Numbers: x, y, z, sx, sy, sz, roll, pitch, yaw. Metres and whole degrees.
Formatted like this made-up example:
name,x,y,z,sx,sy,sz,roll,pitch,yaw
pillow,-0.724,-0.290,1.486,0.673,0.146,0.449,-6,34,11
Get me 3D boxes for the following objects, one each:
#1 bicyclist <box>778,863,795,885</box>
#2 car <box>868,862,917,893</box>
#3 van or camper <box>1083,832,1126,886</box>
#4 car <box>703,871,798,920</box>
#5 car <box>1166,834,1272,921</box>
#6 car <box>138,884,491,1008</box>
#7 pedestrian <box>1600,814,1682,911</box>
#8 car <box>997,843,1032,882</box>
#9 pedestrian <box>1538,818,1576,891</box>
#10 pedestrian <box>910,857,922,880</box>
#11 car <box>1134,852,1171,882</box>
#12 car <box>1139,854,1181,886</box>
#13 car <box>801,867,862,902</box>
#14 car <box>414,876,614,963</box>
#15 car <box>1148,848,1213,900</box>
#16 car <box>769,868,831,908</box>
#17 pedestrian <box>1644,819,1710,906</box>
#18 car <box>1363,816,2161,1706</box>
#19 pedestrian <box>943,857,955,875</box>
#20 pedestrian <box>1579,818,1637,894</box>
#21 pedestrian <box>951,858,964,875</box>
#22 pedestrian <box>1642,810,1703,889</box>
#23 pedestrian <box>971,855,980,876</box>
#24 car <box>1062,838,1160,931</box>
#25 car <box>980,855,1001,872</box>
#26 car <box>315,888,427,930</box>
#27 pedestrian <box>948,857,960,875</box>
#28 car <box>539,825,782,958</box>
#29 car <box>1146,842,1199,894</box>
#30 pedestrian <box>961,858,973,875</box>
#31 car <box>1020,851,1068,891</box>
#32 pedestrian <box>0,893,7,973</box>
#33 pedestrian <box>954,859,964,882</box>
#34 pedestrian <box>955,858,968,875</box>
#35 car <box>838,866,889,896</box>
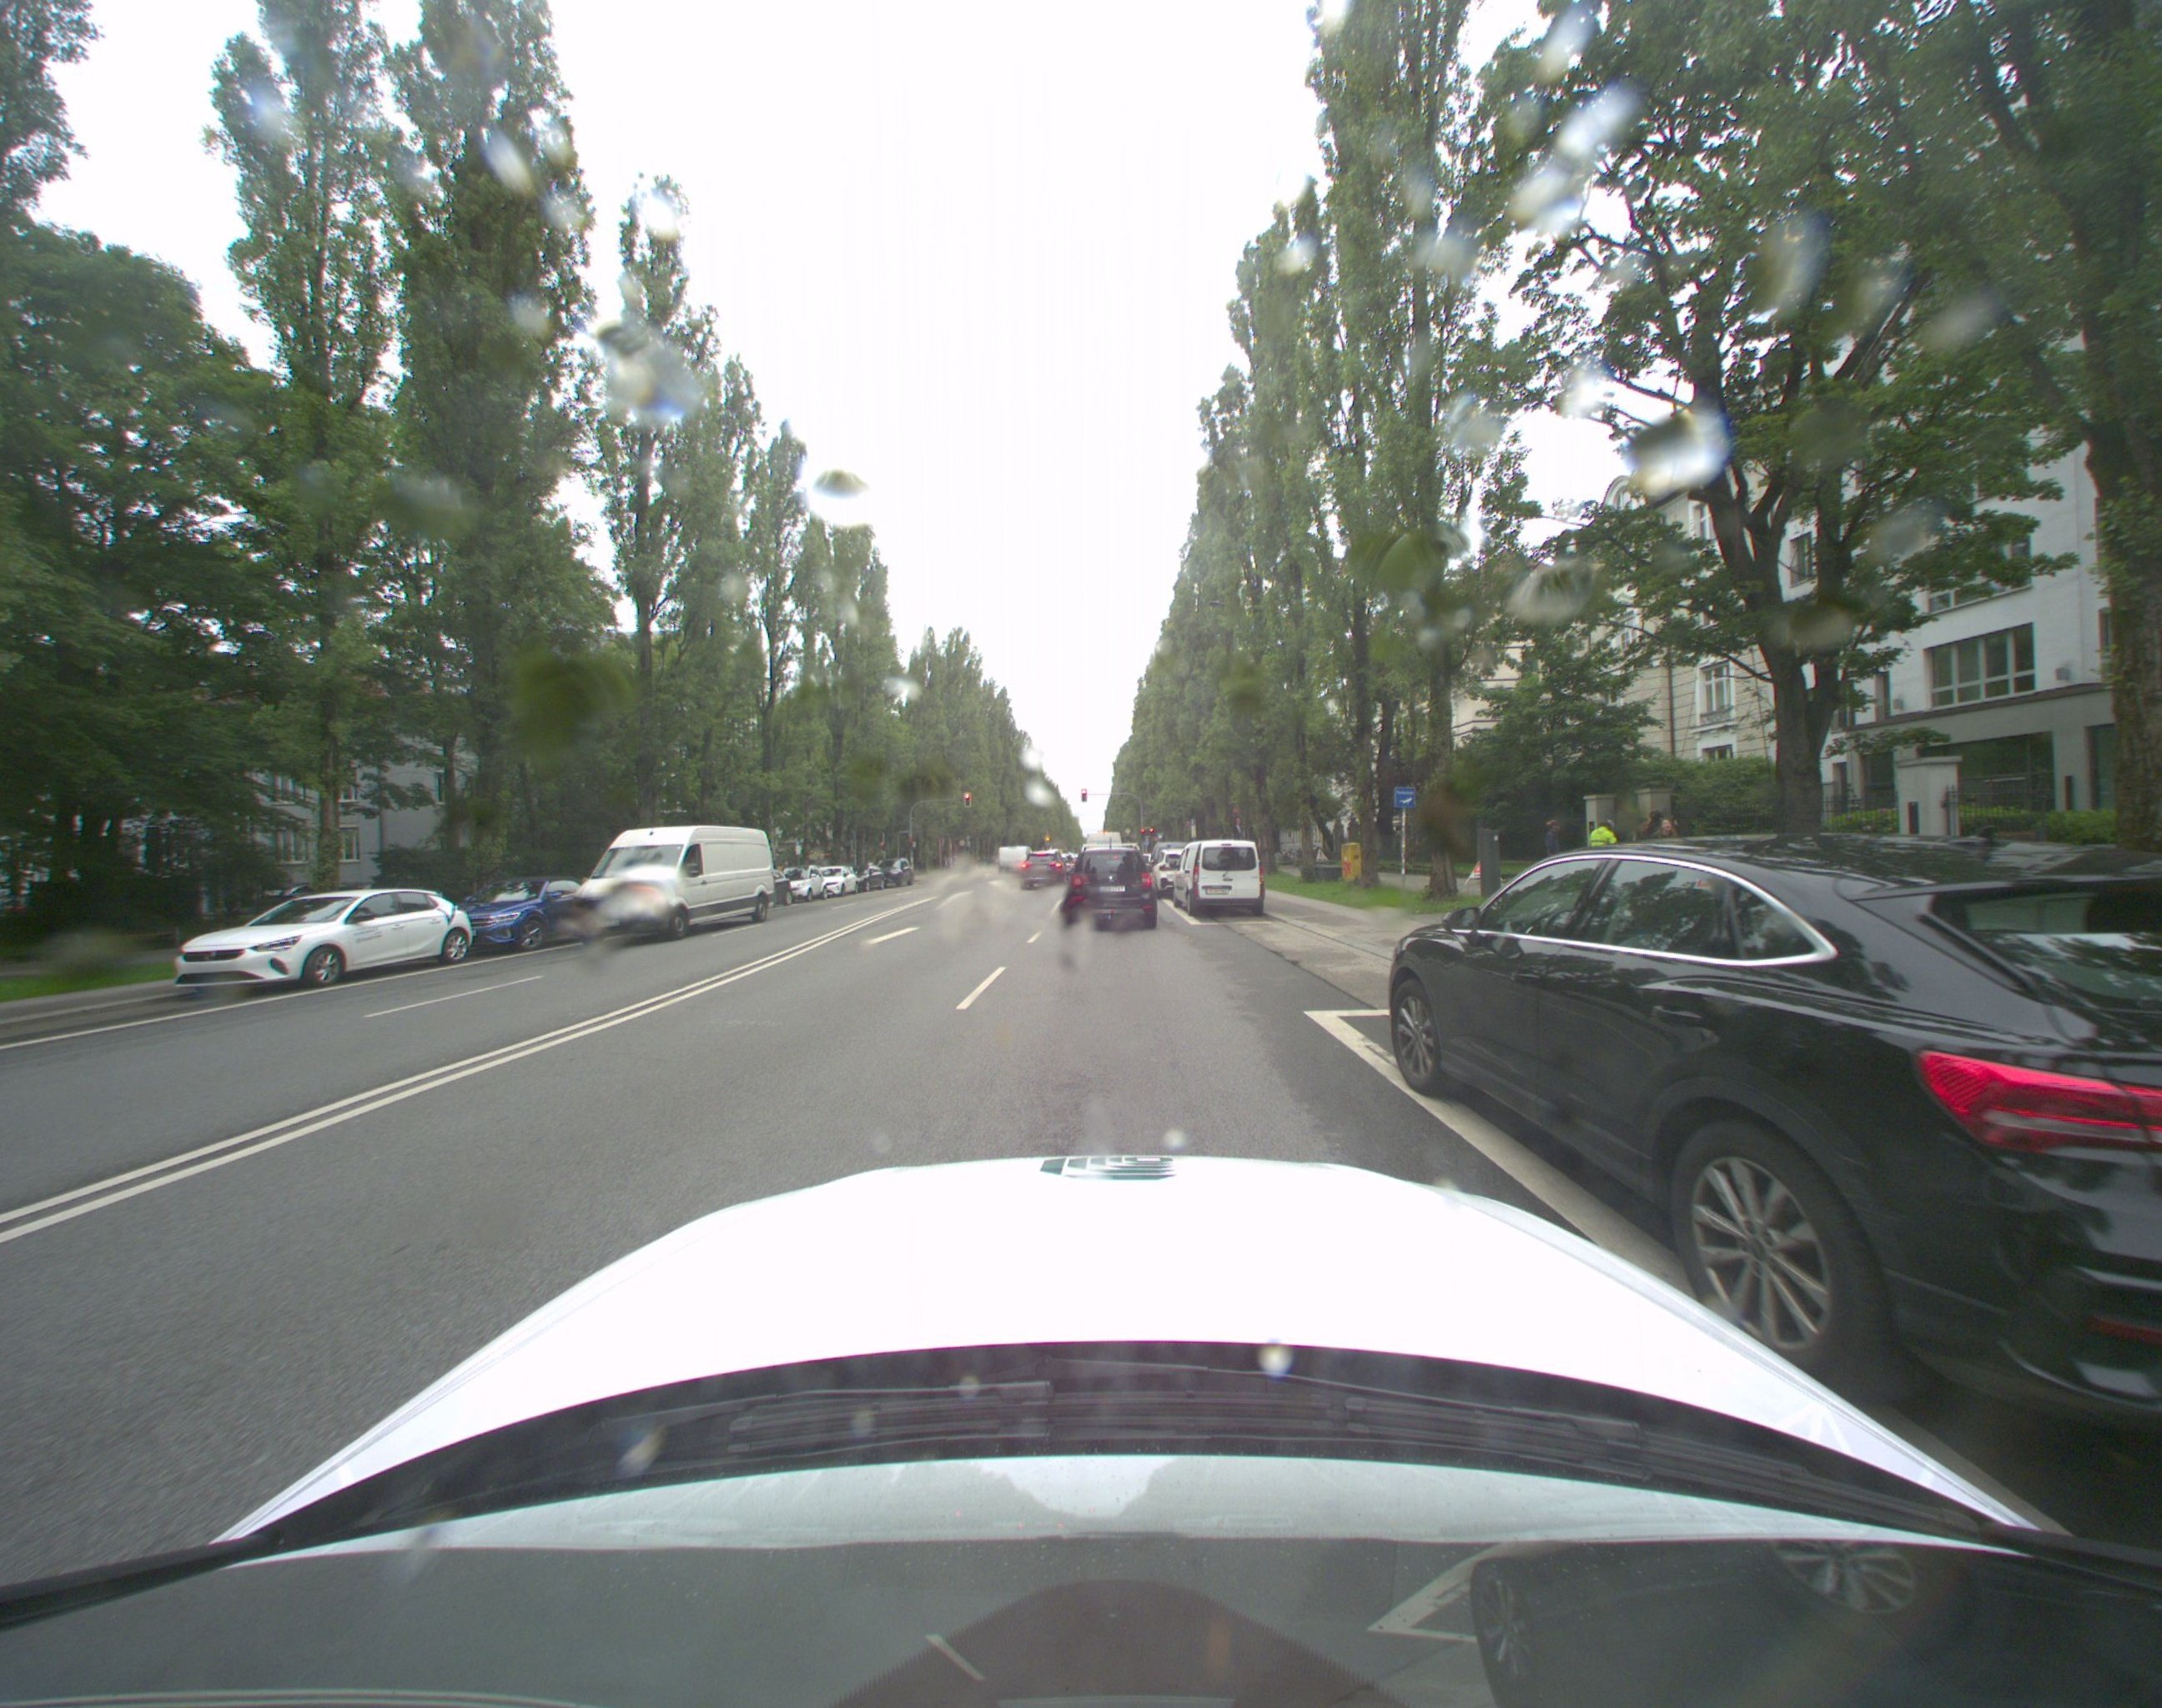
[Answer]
name,x,y,z,sx,sy,sz,roll,pitch,yaw
bicyclist,-22.952,1.549,63.477,0.900,1.722,0.827,-2,0,11
car,-11.489,1.414,49.998,1.844,1.654,4.693,-4,0,-1
van or camper,1.135,0.254,41.621,1.969,2.548,4.024,-2,0,0
car,-11.846,1.444,29.448,1.594,1.425,3.854,-5,0,3
car,3.333,0.524,20.467,1.845,1.881,4.167,-2,0,-1
car,-12.305,1.373,13.572,1.765,1.452,4.233,-5,0,0
pedestrian,10.528,0.156,15.344,0.850,1.717,0.867,-3,0,1
car,-3.918,0.475,48.240,1.776,2.111,4.022,-2,0,-2
pedestrian,12.404,0.013,21.241,0.487,1.862,0.635,-2,0,-16
pedestrian,-11.478,1.030,56.731,0.658,1.577,0.530,-3,0,2
car,3.841,0.689,44.338,1.729,1.475,3.563,-2,0,1
car,3.716,0.721,38.832,1.729,1.387,3.563,-2,0,1
car,-11.725,1.390,38.544,1.619,1.389,4.163,-4,0,-2
car,-12.096,1.332,17.686,1.704,1.451,3.585,-5,0,0
car,3.306,0.616,27.689,1.734,1.593,4.213,-2,0,1
car,-11.750,1.403,34.232,1.422,1.447,2.966,-5,0,1
pedestrian,11.283,0.156,15.445,0.566,1.578,0.867,-3,0,1
car,2.869,0.668,3.481,1.873,1.540,4.466,-2,0,2
pedestrian,-13.387,1.214,82.327,0.874,1.764,0.881,-2,0,11
pedestrian,12.940,0.051,20.003,0.801,1.781,0.816,-2,0,-16
pedestrian,-12.162,1.238,80.227,0.887,1.655,0.868,-2,0,-36
pedestrian,14.229,-0.124,19.608,0.905,1.800,0.825,-3,2,-20
pedestrian,-7.660,0.796,58.951,0.515,1.485,0.537,-3,0,2
car,0.625,0.581,17.471,1.849,1.770,4.001,0,0,2
car,-10.046,1.033,90.451,1.682,1.783,3.776,-2,0,1
car,-35.492,2.708,40.883,1.986,1.772,4.002,-2,0,2
pedestrian,-12.656,1.172,81.236,0.874,1.764,0.881,-2,0,11
car,-9.603,0.741,19.584,2.221,2.483,6.756,-4,0,0
car,3.603,0.505,32.701,1.729,1.895,4.026,-2,0,1
pedestrian,-11.364,1.228,81.217,0.887,1.655,0.868,-2,0,-36
car,-1.582,0.706,35.884,1.775,1.620,4.026,-1,0,1
pedestrian,-21.921,1.584,15.902,0.734,1.599,0.881,-1,0,2
pedestrian,-8.281,1.120,55.218,0.526,1.577,0.663,-3,0,2
pedestrian,-11.629,1.221,79.506,0.887,1.655,0.868,-2,0,-36
car,-11.689,1.434,44.049,1.619,1.389,4.165,-4,0,-1
